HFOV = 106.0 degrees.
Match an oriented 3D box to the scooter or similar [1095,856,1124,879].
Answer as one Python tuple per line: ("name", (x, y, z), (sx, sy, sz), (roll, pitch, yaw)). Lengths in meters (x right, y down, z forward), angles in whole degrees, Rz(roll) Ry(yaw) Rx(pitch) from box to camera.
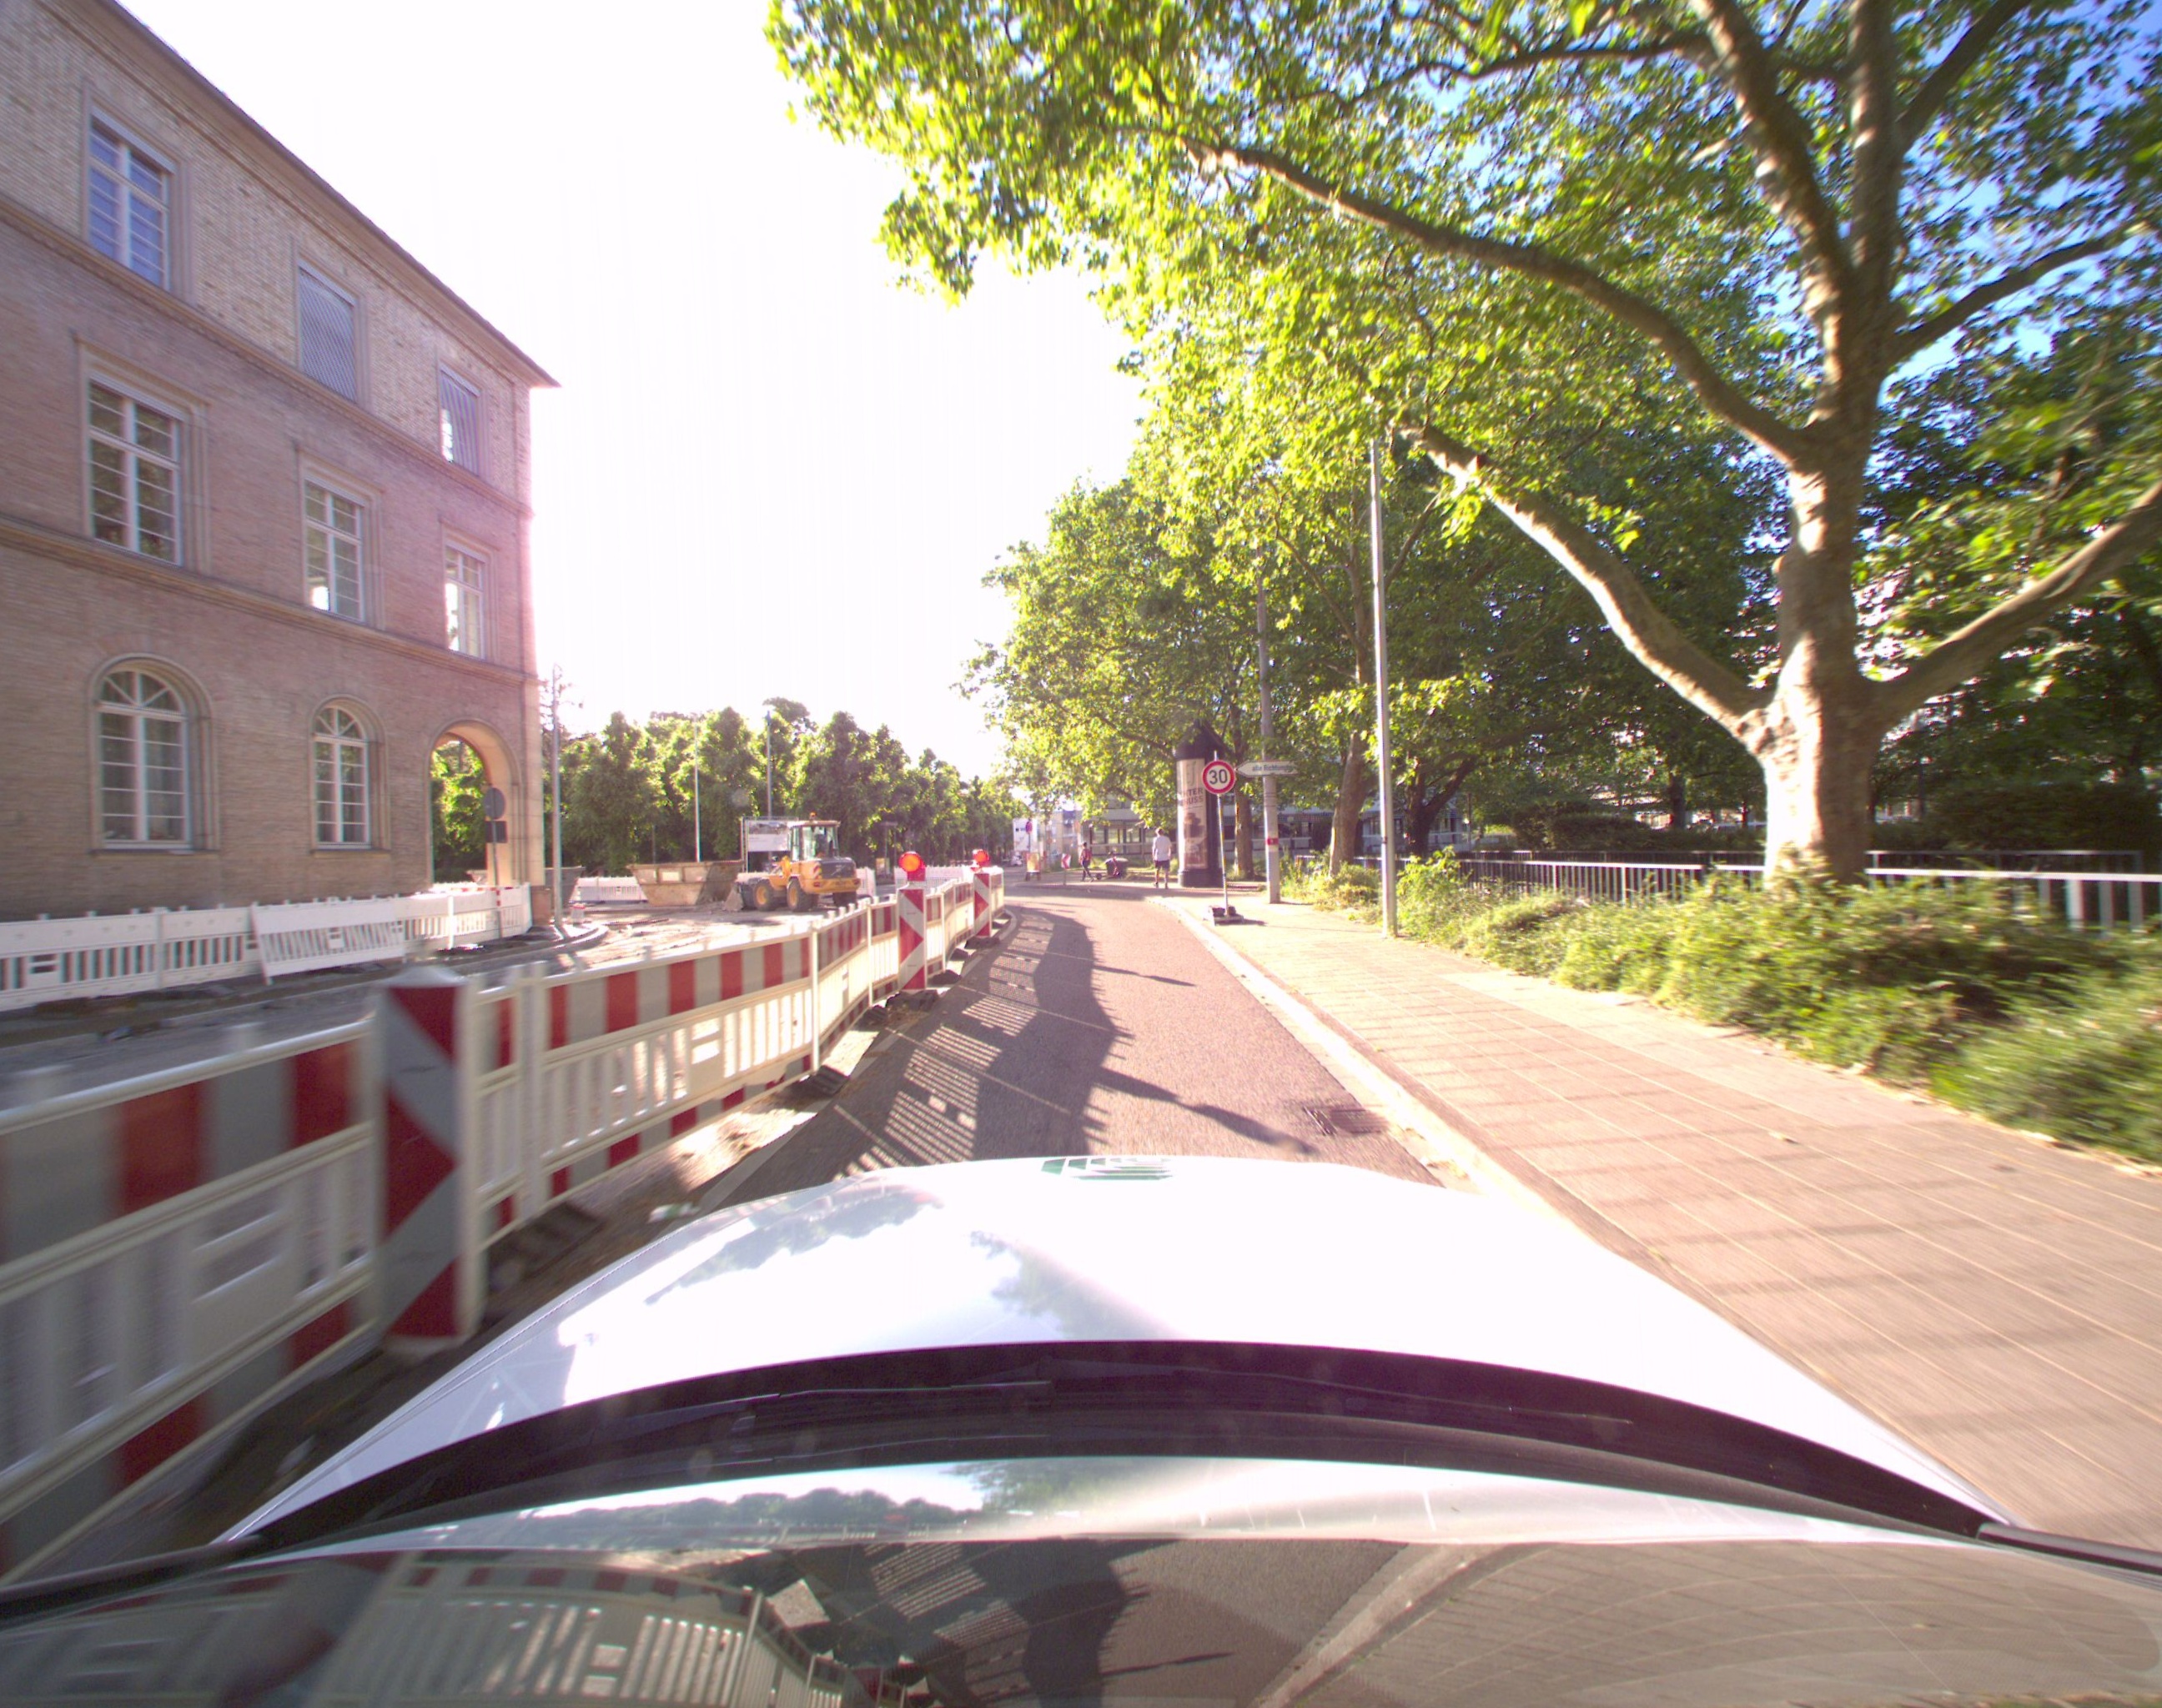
("scooter or similar", (1.215, 0.574, 34.494), (1.145, 0.914, 0.418), (-4, -1, -7))

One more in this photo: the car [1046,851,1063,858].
("car", (-7.190, 0.212, 221.324), (4.543, 1.790, 2.000), (-1, 0, -1))

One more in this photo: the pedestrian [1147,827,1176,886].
("pedestrian", (2.528, 0.068, 25.646), (0.743, 1.813, 1.132), (0, 0, -4))

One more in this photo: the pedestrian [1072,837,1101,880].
("pedestrian", (0.216, 0.186, 31.781), (0.713, 1.623, 0.930), (-2, -1, -30))

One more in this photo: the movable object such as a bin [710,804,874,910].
("movable object such as a bin", (-9.417, 0.131, 26.208), (5.857, 3.031, 2.582), (-3, 0, 45))
